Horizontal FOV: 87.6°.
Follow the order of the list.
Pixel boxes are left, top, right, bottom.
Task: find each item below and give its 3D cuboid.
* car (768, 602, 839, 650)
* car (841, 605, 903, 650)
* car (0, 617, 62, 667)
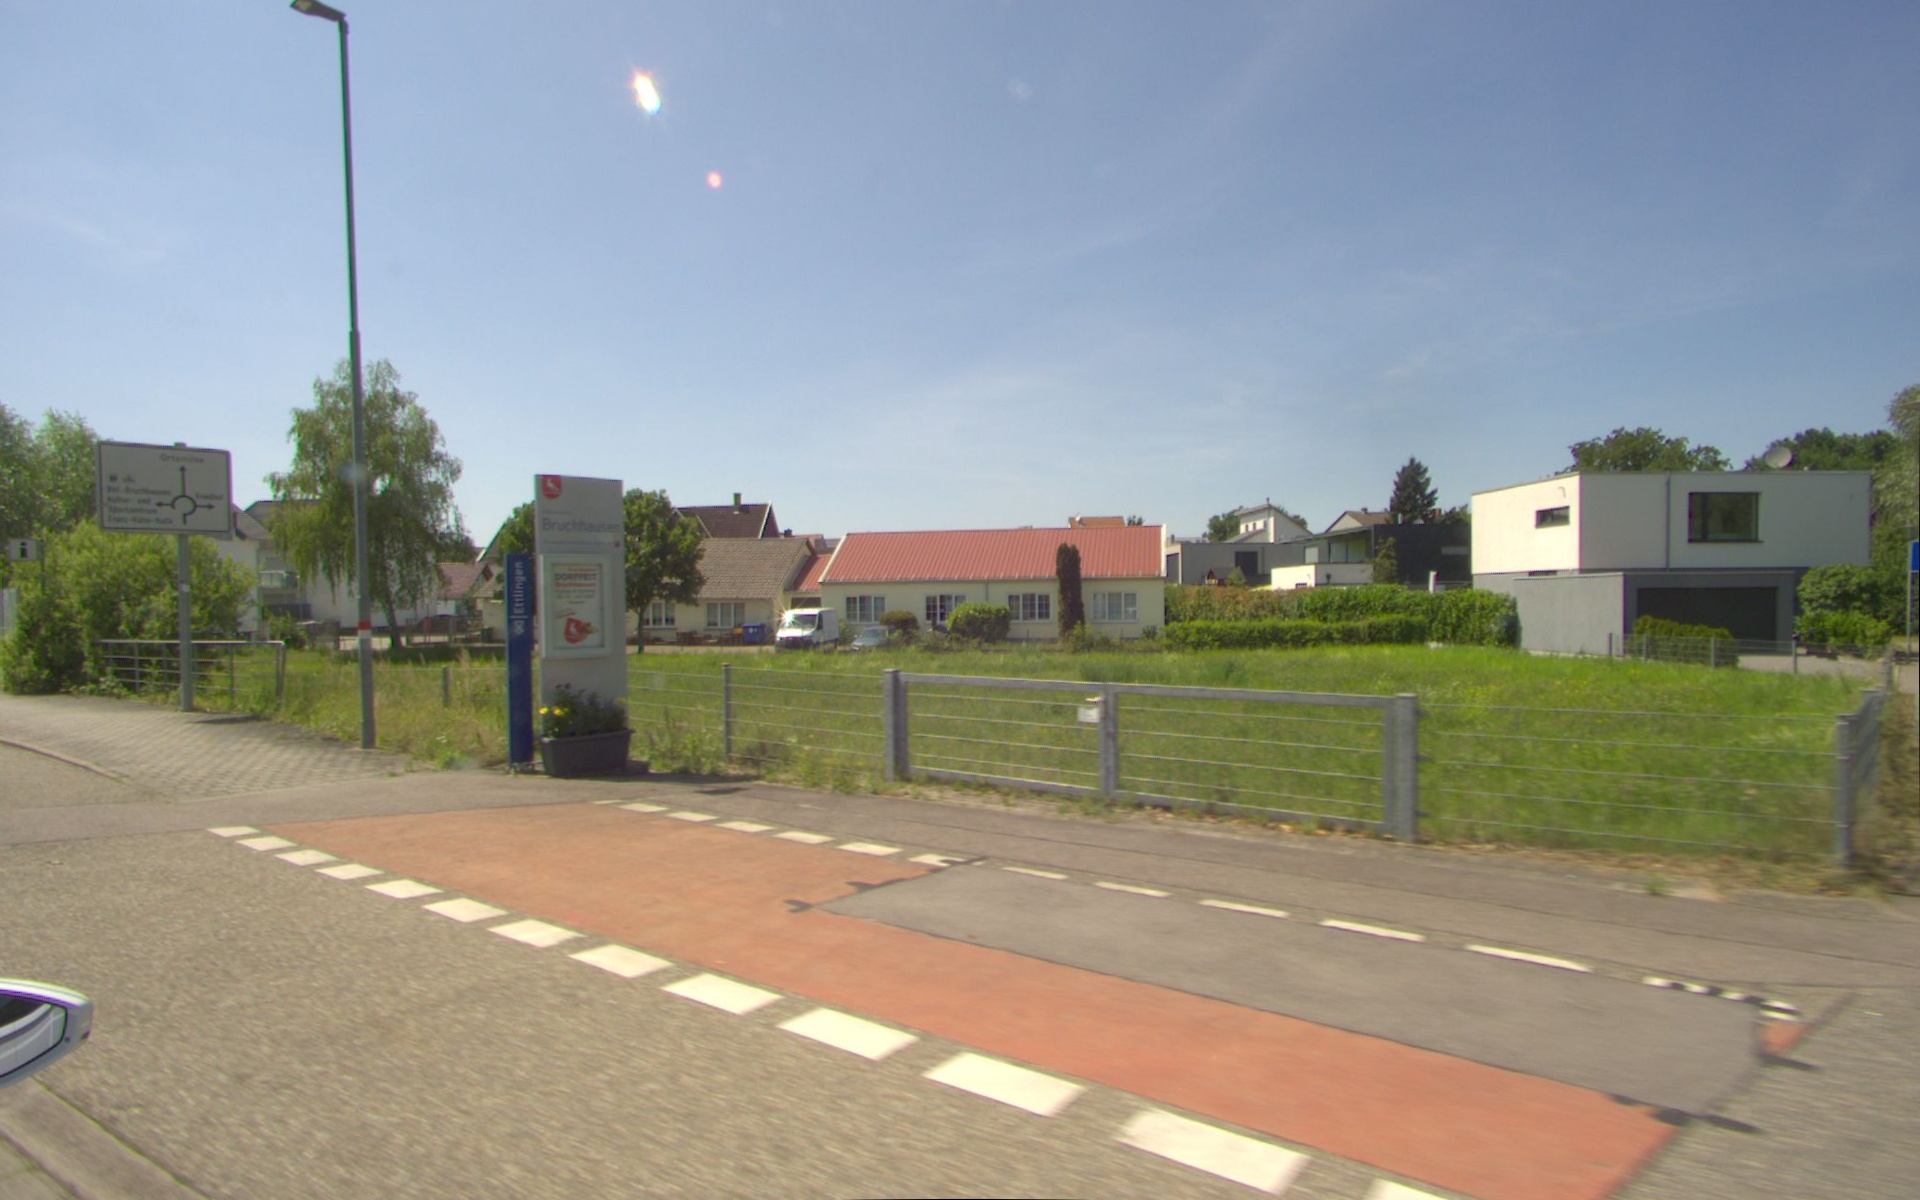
[{"bbox_3d":[-7.642,1.304,49.405,2.173,2.229,5.185,0,-1,7],"label":"car"},{"bbox_3d":[-4.220,1.339,48.609,2.030,2.039,4.934,0,-1,7],"label":"car"},{"bbox_3d":[-40.244,1.715,41.327,2.093,2.039,5.149,0,-1,-6],"label":"car"}]
